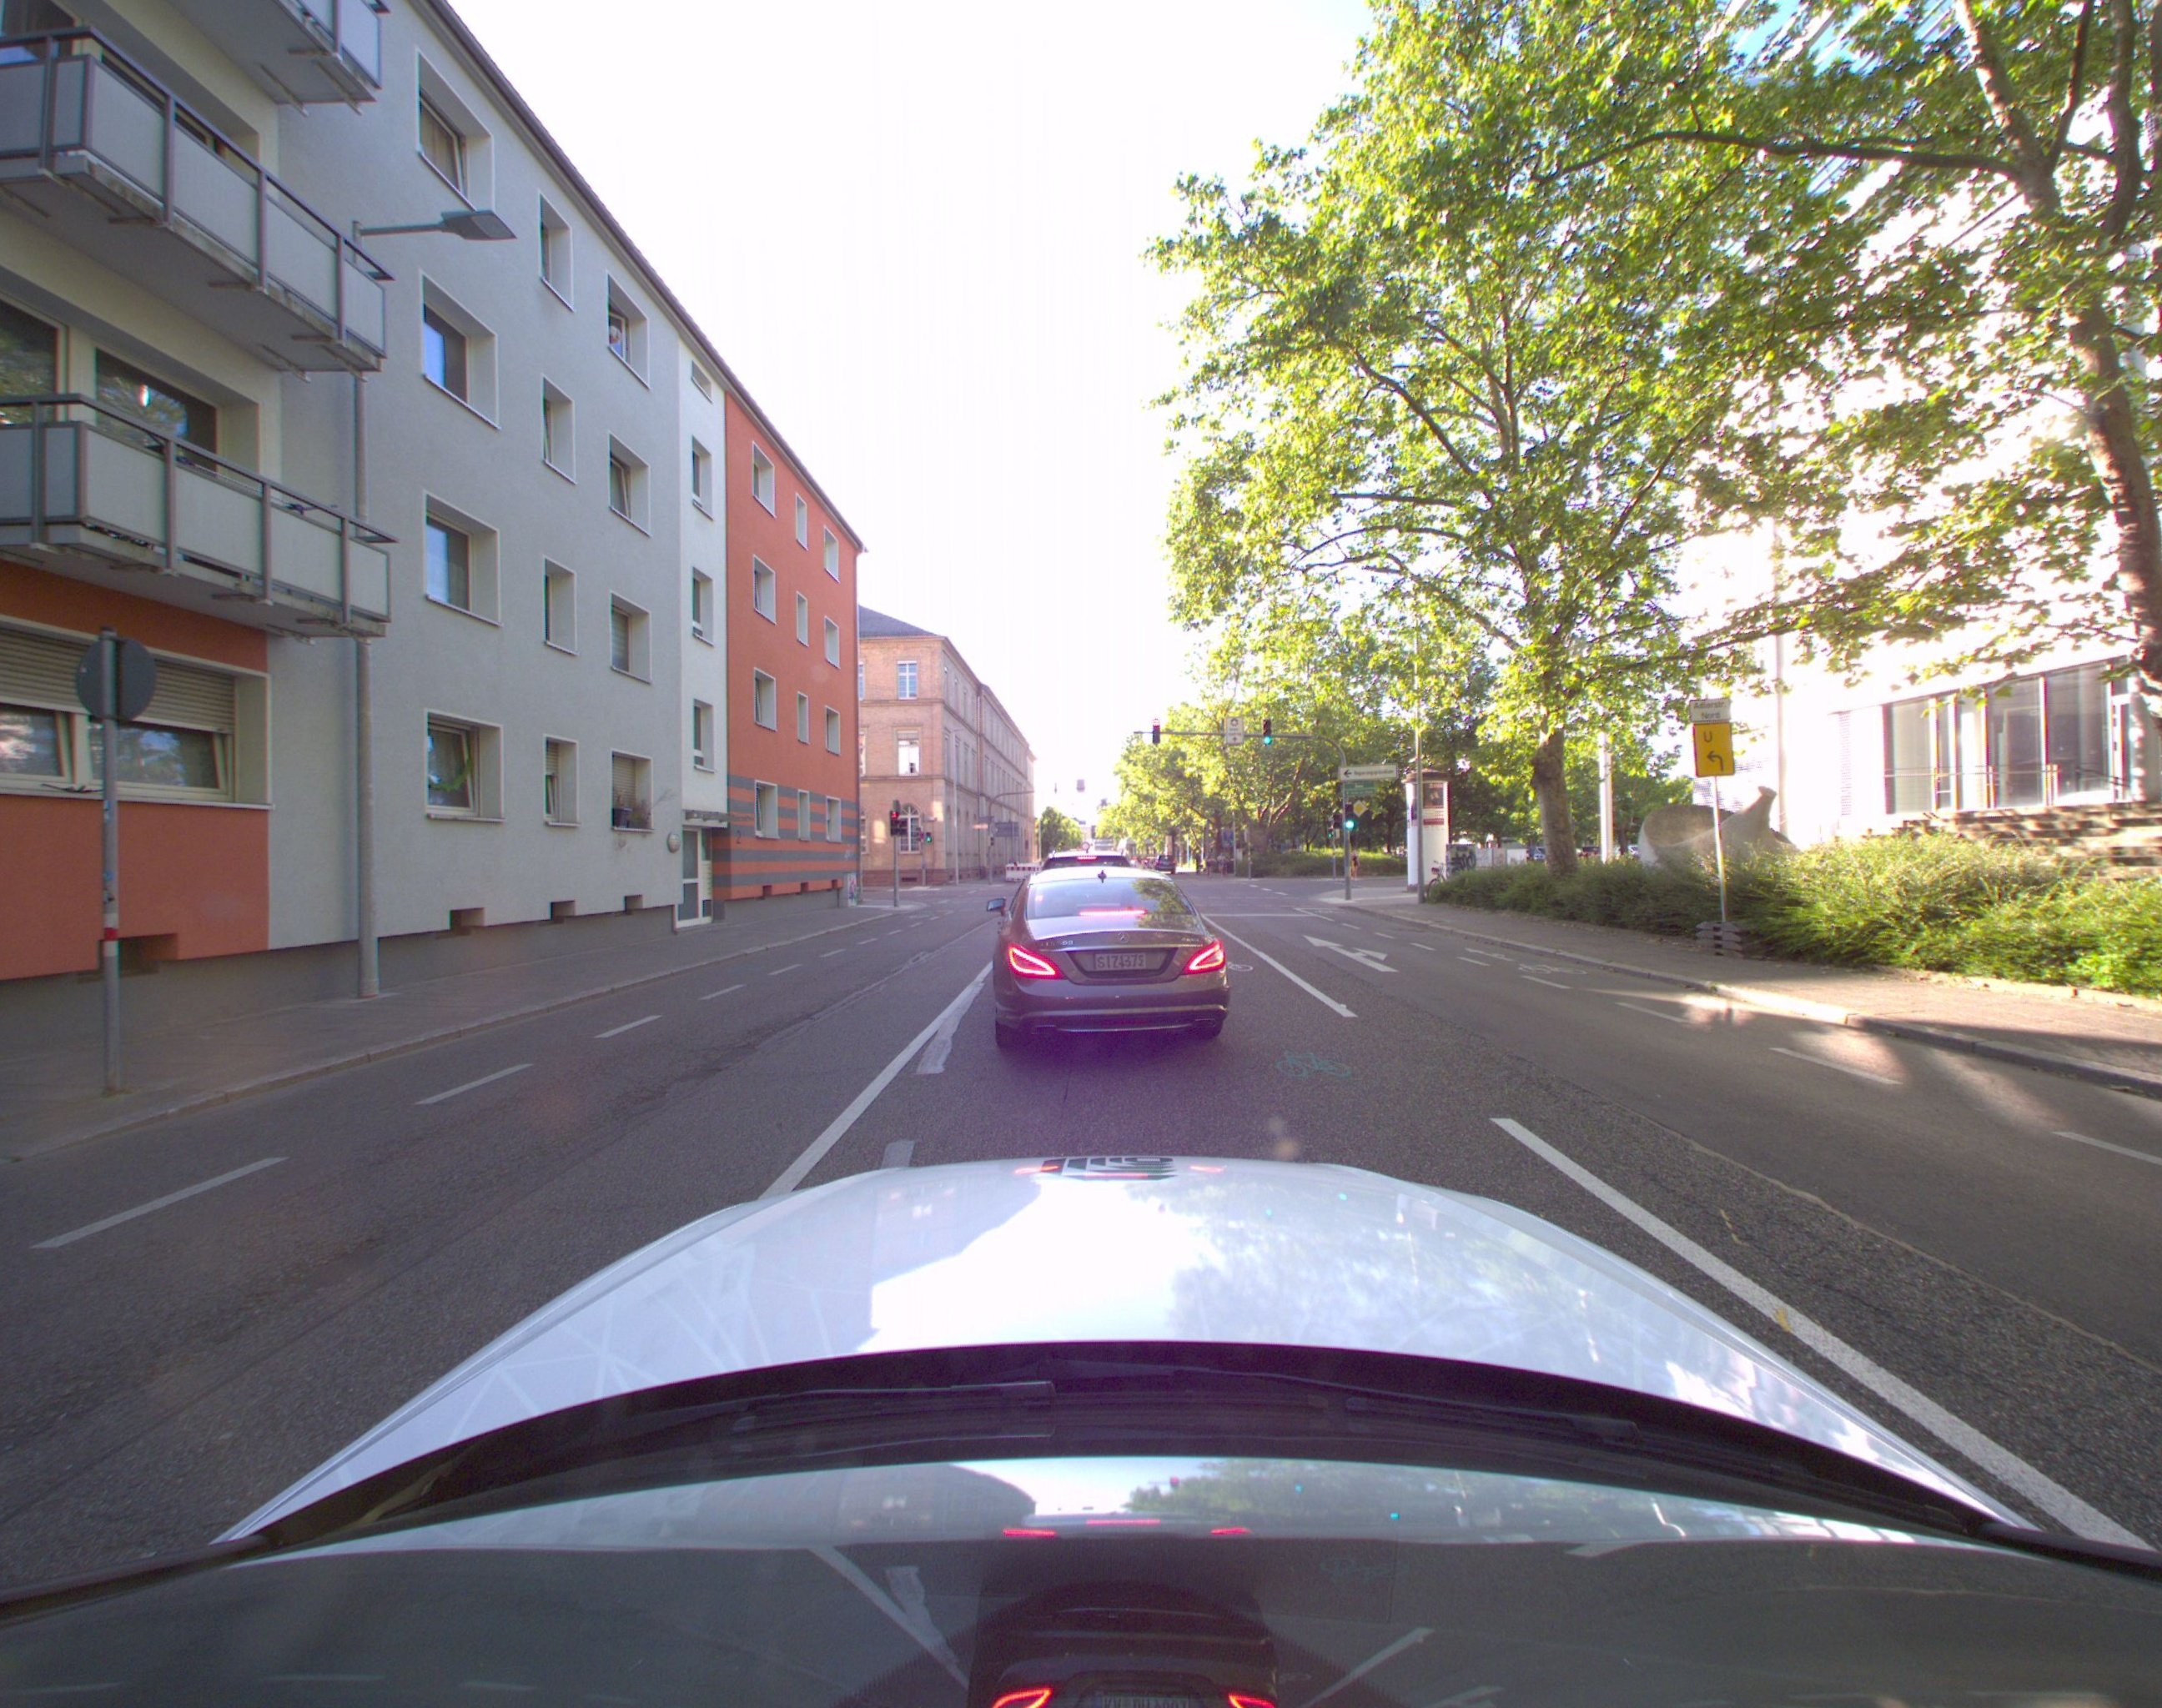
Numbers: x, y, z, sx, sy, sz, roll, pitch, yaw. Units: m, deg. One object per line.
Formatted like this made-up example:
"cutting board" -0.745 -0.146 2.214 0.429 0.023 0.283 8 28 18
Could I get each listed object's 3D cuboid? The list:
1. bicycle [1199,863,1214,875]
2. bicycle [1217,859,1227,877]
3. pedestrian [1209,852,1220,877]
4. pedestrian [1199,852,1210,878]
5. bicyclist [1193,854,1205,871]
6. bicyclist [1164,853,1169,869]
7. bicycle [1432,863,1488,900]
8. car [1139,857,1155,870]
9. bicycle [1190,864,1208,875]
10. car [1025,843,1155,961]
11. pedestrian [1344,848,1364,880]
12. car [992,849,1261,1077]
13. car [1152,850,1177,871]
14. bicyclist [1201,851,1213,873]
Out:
"bicycle" 9.520 1.115 61.675 0.825 0.924 2.618 0 -1 2
"bicycle" 9.929 0.985 57.221 0.480 1.202 1.607 0 -1 2
"pedestrian" 9.415 0.763 57.450 0.634 1.760 0.698 0 -1 -2
"pedestrian" 8.745 0.772 57.532 0.634 1.797 0.698 0 -1 -2
"bicyclist" 9.390 0.681 64.769 0.726 1.398 0.703 -1 -1 30
"bicyclist" 11.000 0.870 105.056 0.593 2.039 0.566 0 -1 -2
"bicycle" 10.984 0.780 23.570 1.895 1.028 0.635 0 -1 -36
"car" 7.739 1.083 95.607 1.698 1.519 4.002 -1 0 2
"bicycle" 9.400 1.231 64.777 0.716 0.791 1.940 -1 -1 30
"car" 0.192 0.696 13.731 1.854 1.682 4.002 -1 0 2
"pedestrian" 13.647 0.493 40.745 0.635 1.545 0.908 0 -1 -7
"car" 0.144 0.737 7.596 1.859 1.519 3.992 -1 0 -6
"car" 7.528 0.559 73.795 1.854 1.764 4.483 -1 0 2
"bicyclist" 9.528 0.611 61.554 0.822 1.618 0.958 0 -1 1
